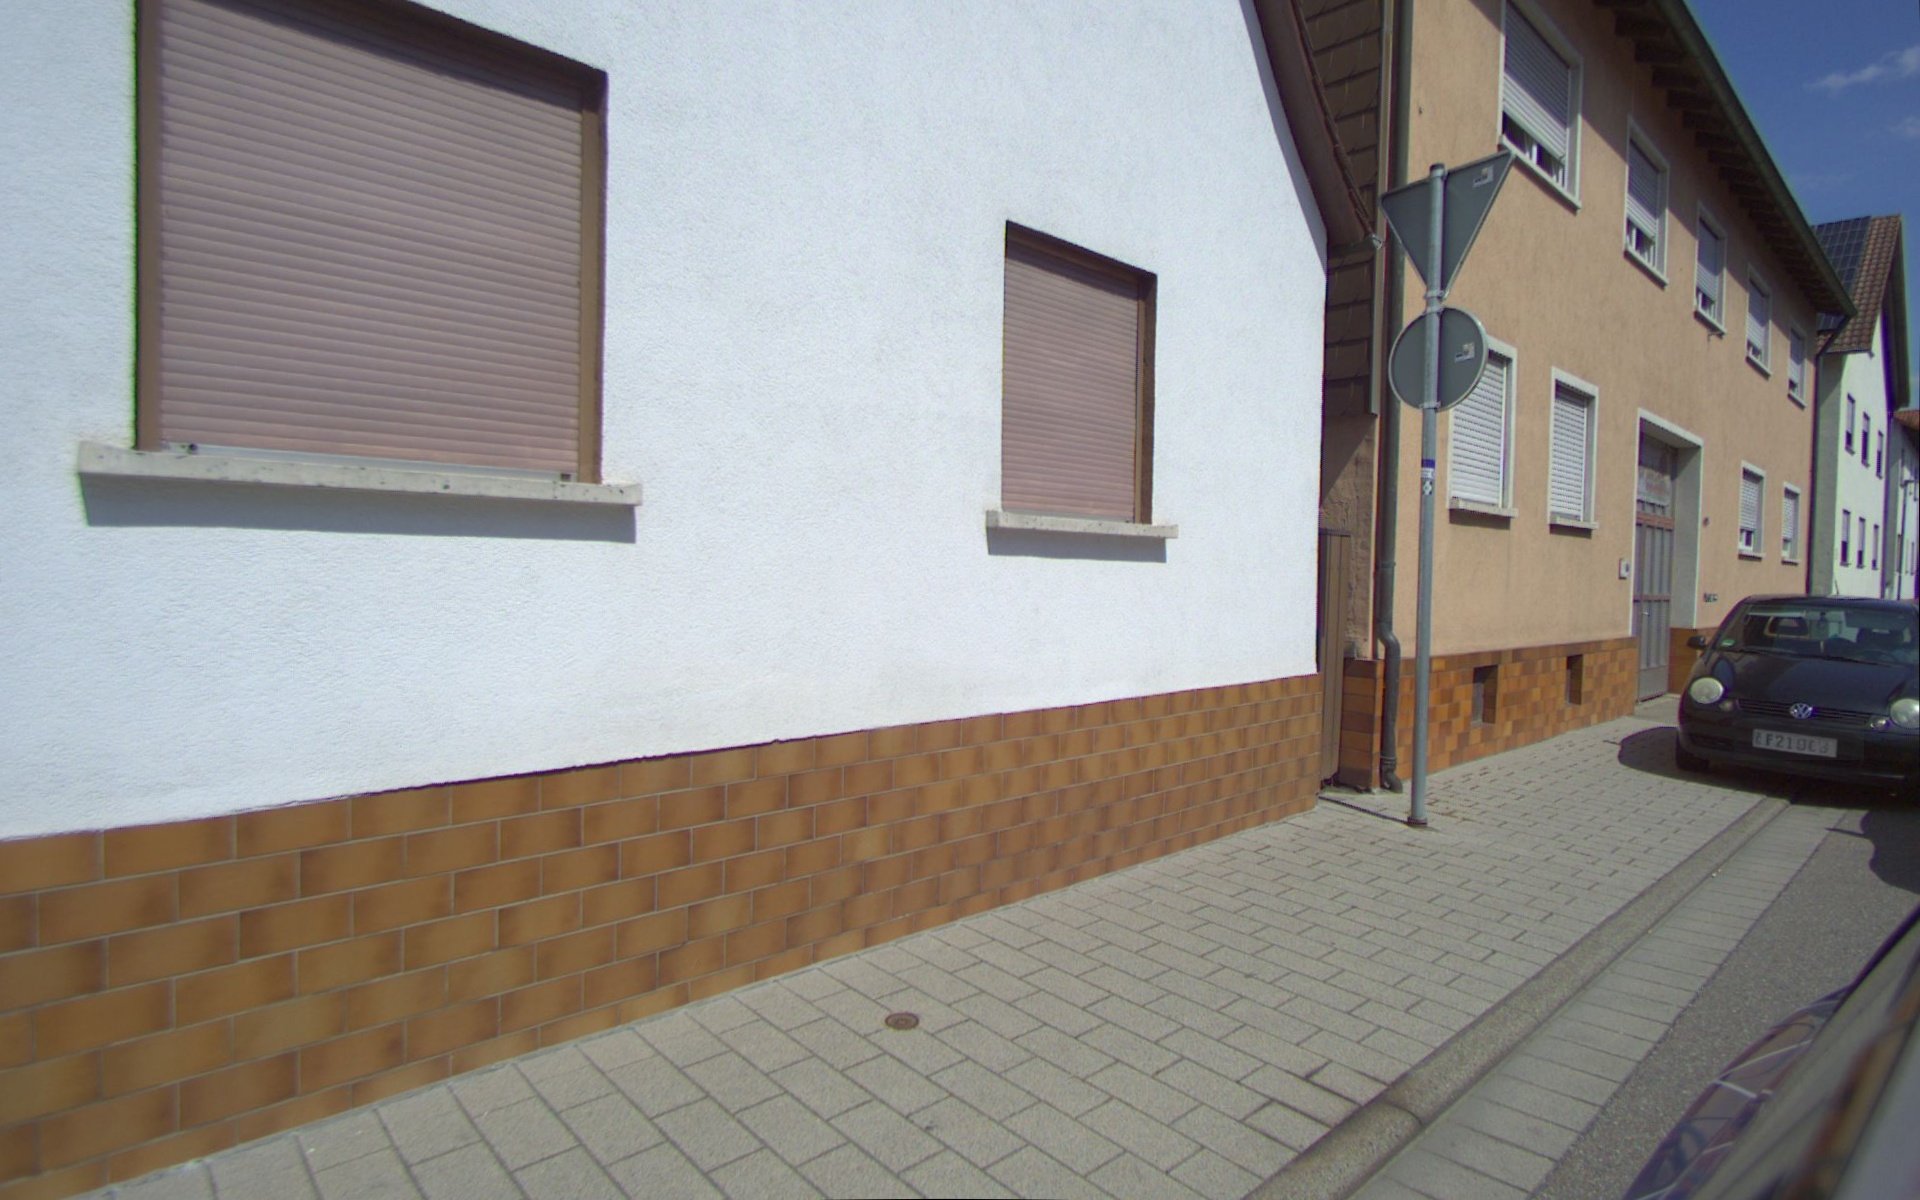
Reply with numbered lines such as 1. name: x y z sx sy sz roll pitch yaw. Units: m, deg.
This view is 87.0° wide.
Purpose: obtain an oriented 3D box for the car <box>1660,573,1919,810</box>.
1. car: 7.217 0.591 8.290 3.569 1.480 1.688 0 4 -44
